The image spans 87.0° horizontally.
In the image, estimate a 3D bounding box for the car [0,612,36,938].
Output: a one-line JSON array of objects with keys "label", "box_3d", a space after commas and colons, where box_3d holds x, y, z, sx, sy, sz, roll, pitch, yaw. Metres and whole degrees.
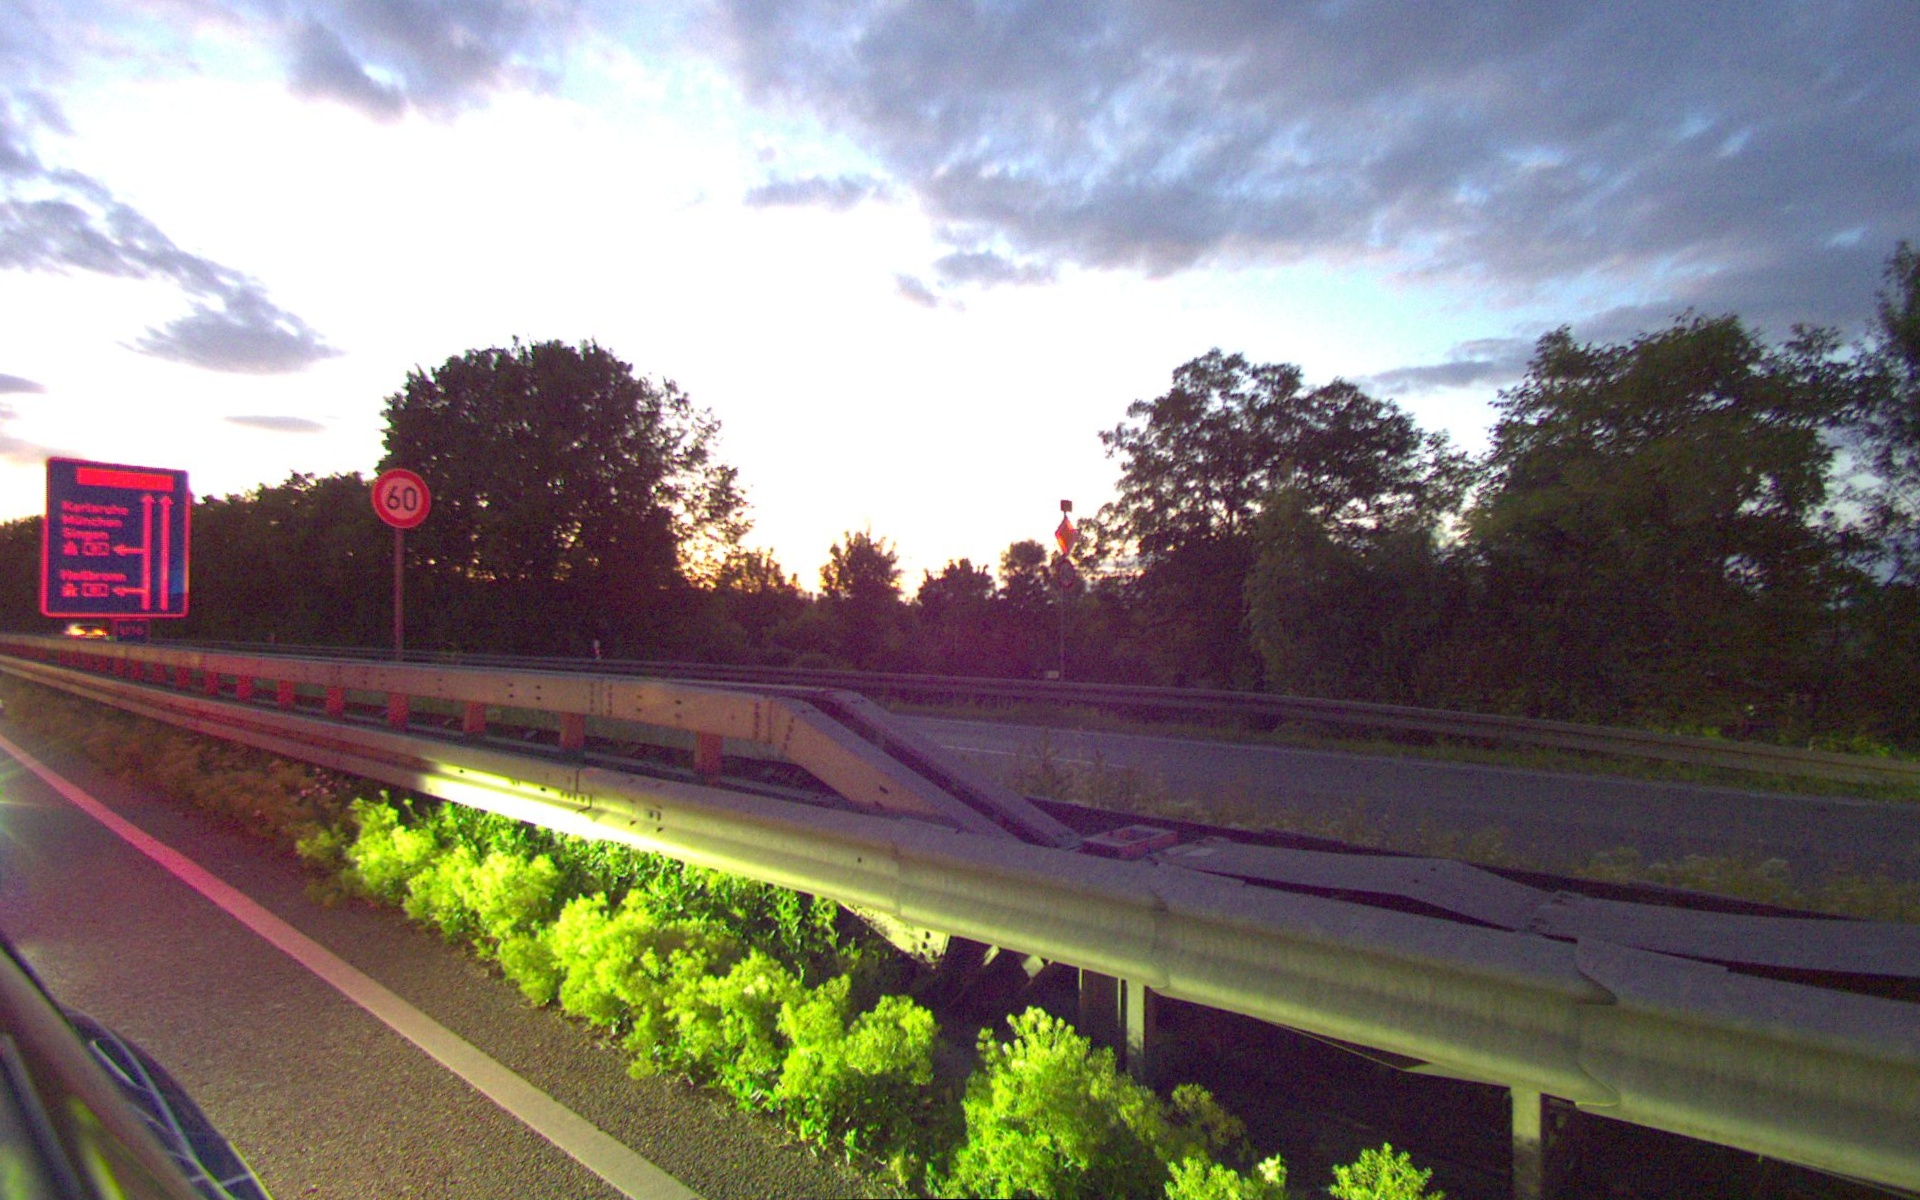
[{"label": "car", "box_3d": [-6.633, 0.844, 5.474, 4.511, 1.492, 1.877, -1, -1, 40]}]

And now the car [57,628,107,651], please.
[{"label": "car", "box_3d": [-60.435, 2.681, 69.637, 4.295, 1.530, 1.973, -2, -2, 41]}]
